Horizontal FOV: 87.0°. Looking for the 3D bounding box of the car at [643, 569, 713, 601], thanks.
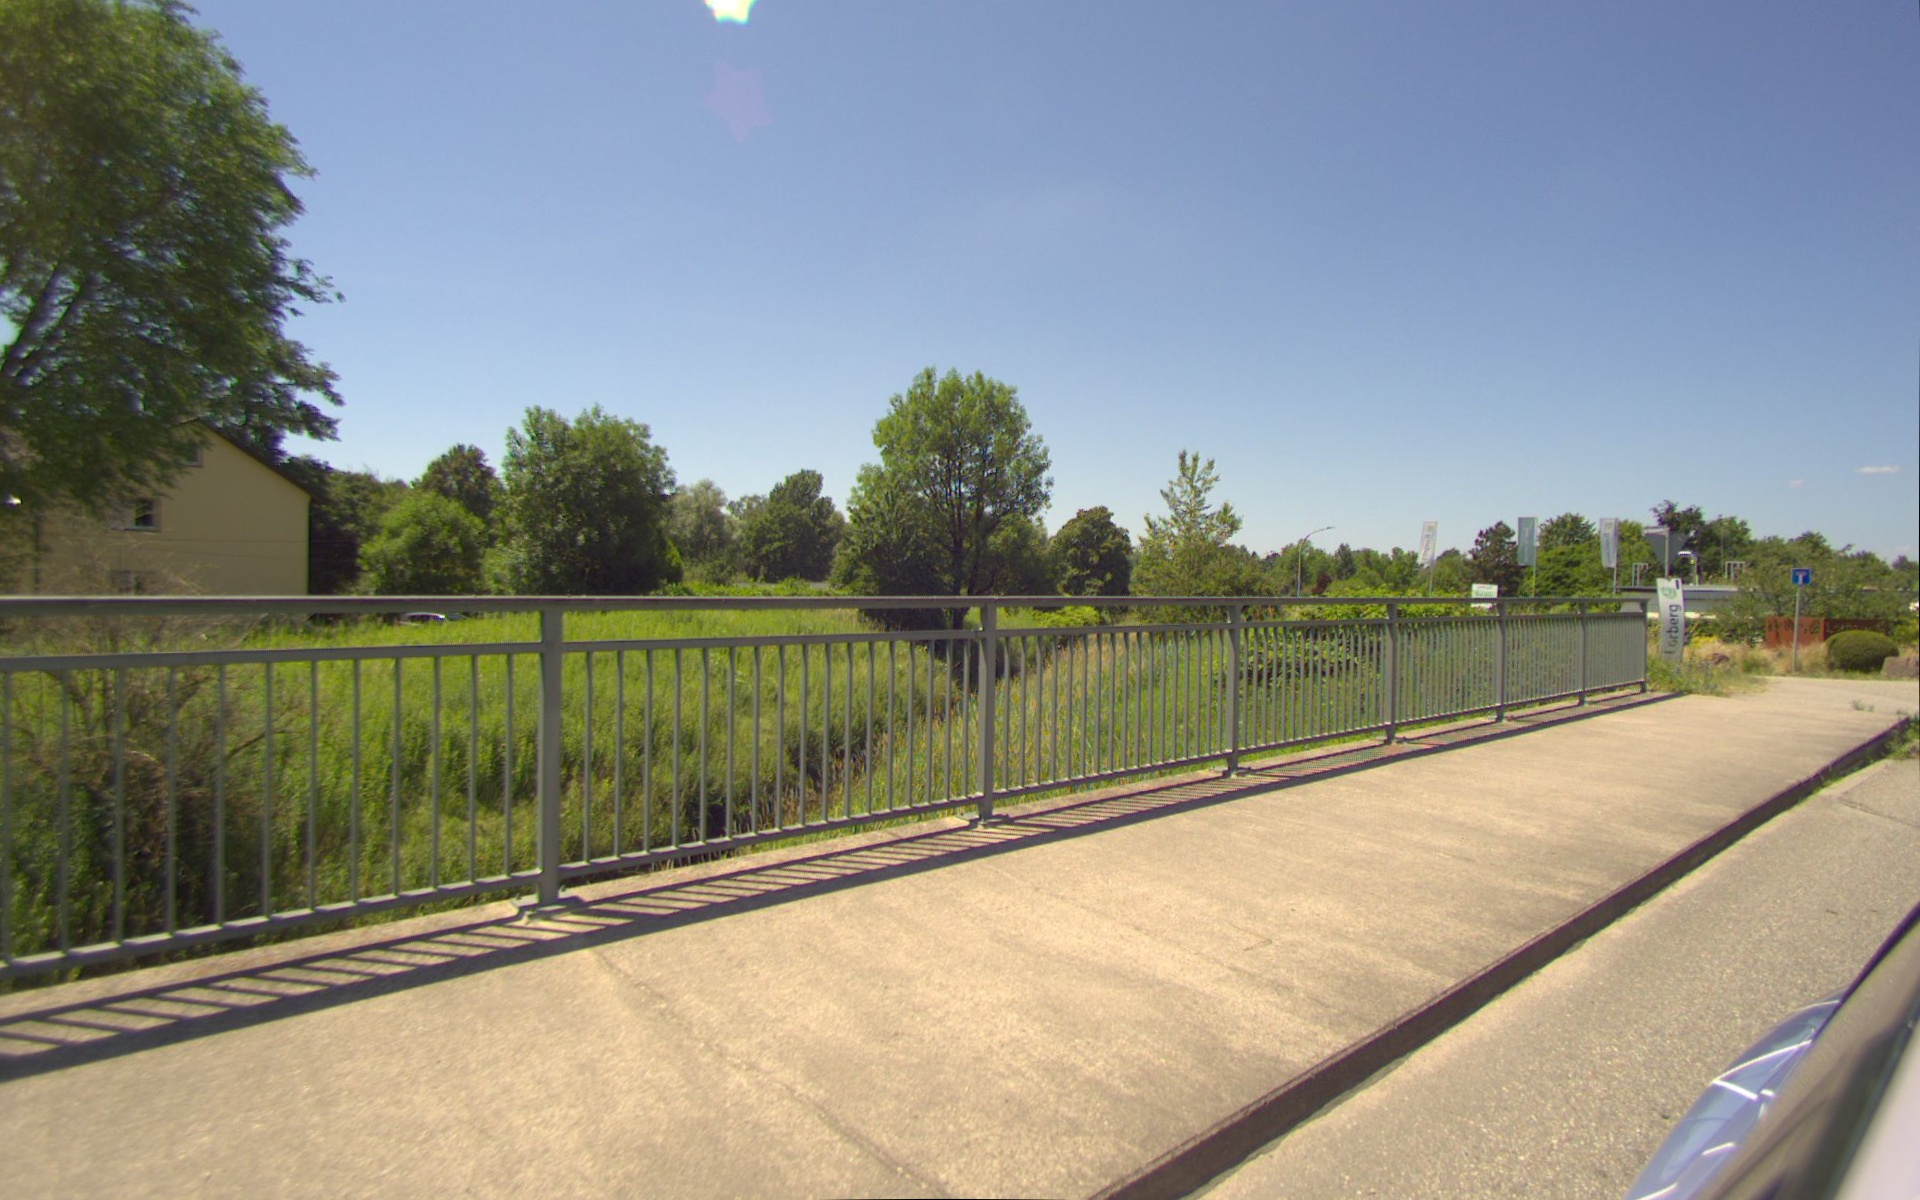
[{"bbox_3d":[-15.828,-0.847,57.010,1.969,1.644,4.497,1,1,12],"label":"car"}]
